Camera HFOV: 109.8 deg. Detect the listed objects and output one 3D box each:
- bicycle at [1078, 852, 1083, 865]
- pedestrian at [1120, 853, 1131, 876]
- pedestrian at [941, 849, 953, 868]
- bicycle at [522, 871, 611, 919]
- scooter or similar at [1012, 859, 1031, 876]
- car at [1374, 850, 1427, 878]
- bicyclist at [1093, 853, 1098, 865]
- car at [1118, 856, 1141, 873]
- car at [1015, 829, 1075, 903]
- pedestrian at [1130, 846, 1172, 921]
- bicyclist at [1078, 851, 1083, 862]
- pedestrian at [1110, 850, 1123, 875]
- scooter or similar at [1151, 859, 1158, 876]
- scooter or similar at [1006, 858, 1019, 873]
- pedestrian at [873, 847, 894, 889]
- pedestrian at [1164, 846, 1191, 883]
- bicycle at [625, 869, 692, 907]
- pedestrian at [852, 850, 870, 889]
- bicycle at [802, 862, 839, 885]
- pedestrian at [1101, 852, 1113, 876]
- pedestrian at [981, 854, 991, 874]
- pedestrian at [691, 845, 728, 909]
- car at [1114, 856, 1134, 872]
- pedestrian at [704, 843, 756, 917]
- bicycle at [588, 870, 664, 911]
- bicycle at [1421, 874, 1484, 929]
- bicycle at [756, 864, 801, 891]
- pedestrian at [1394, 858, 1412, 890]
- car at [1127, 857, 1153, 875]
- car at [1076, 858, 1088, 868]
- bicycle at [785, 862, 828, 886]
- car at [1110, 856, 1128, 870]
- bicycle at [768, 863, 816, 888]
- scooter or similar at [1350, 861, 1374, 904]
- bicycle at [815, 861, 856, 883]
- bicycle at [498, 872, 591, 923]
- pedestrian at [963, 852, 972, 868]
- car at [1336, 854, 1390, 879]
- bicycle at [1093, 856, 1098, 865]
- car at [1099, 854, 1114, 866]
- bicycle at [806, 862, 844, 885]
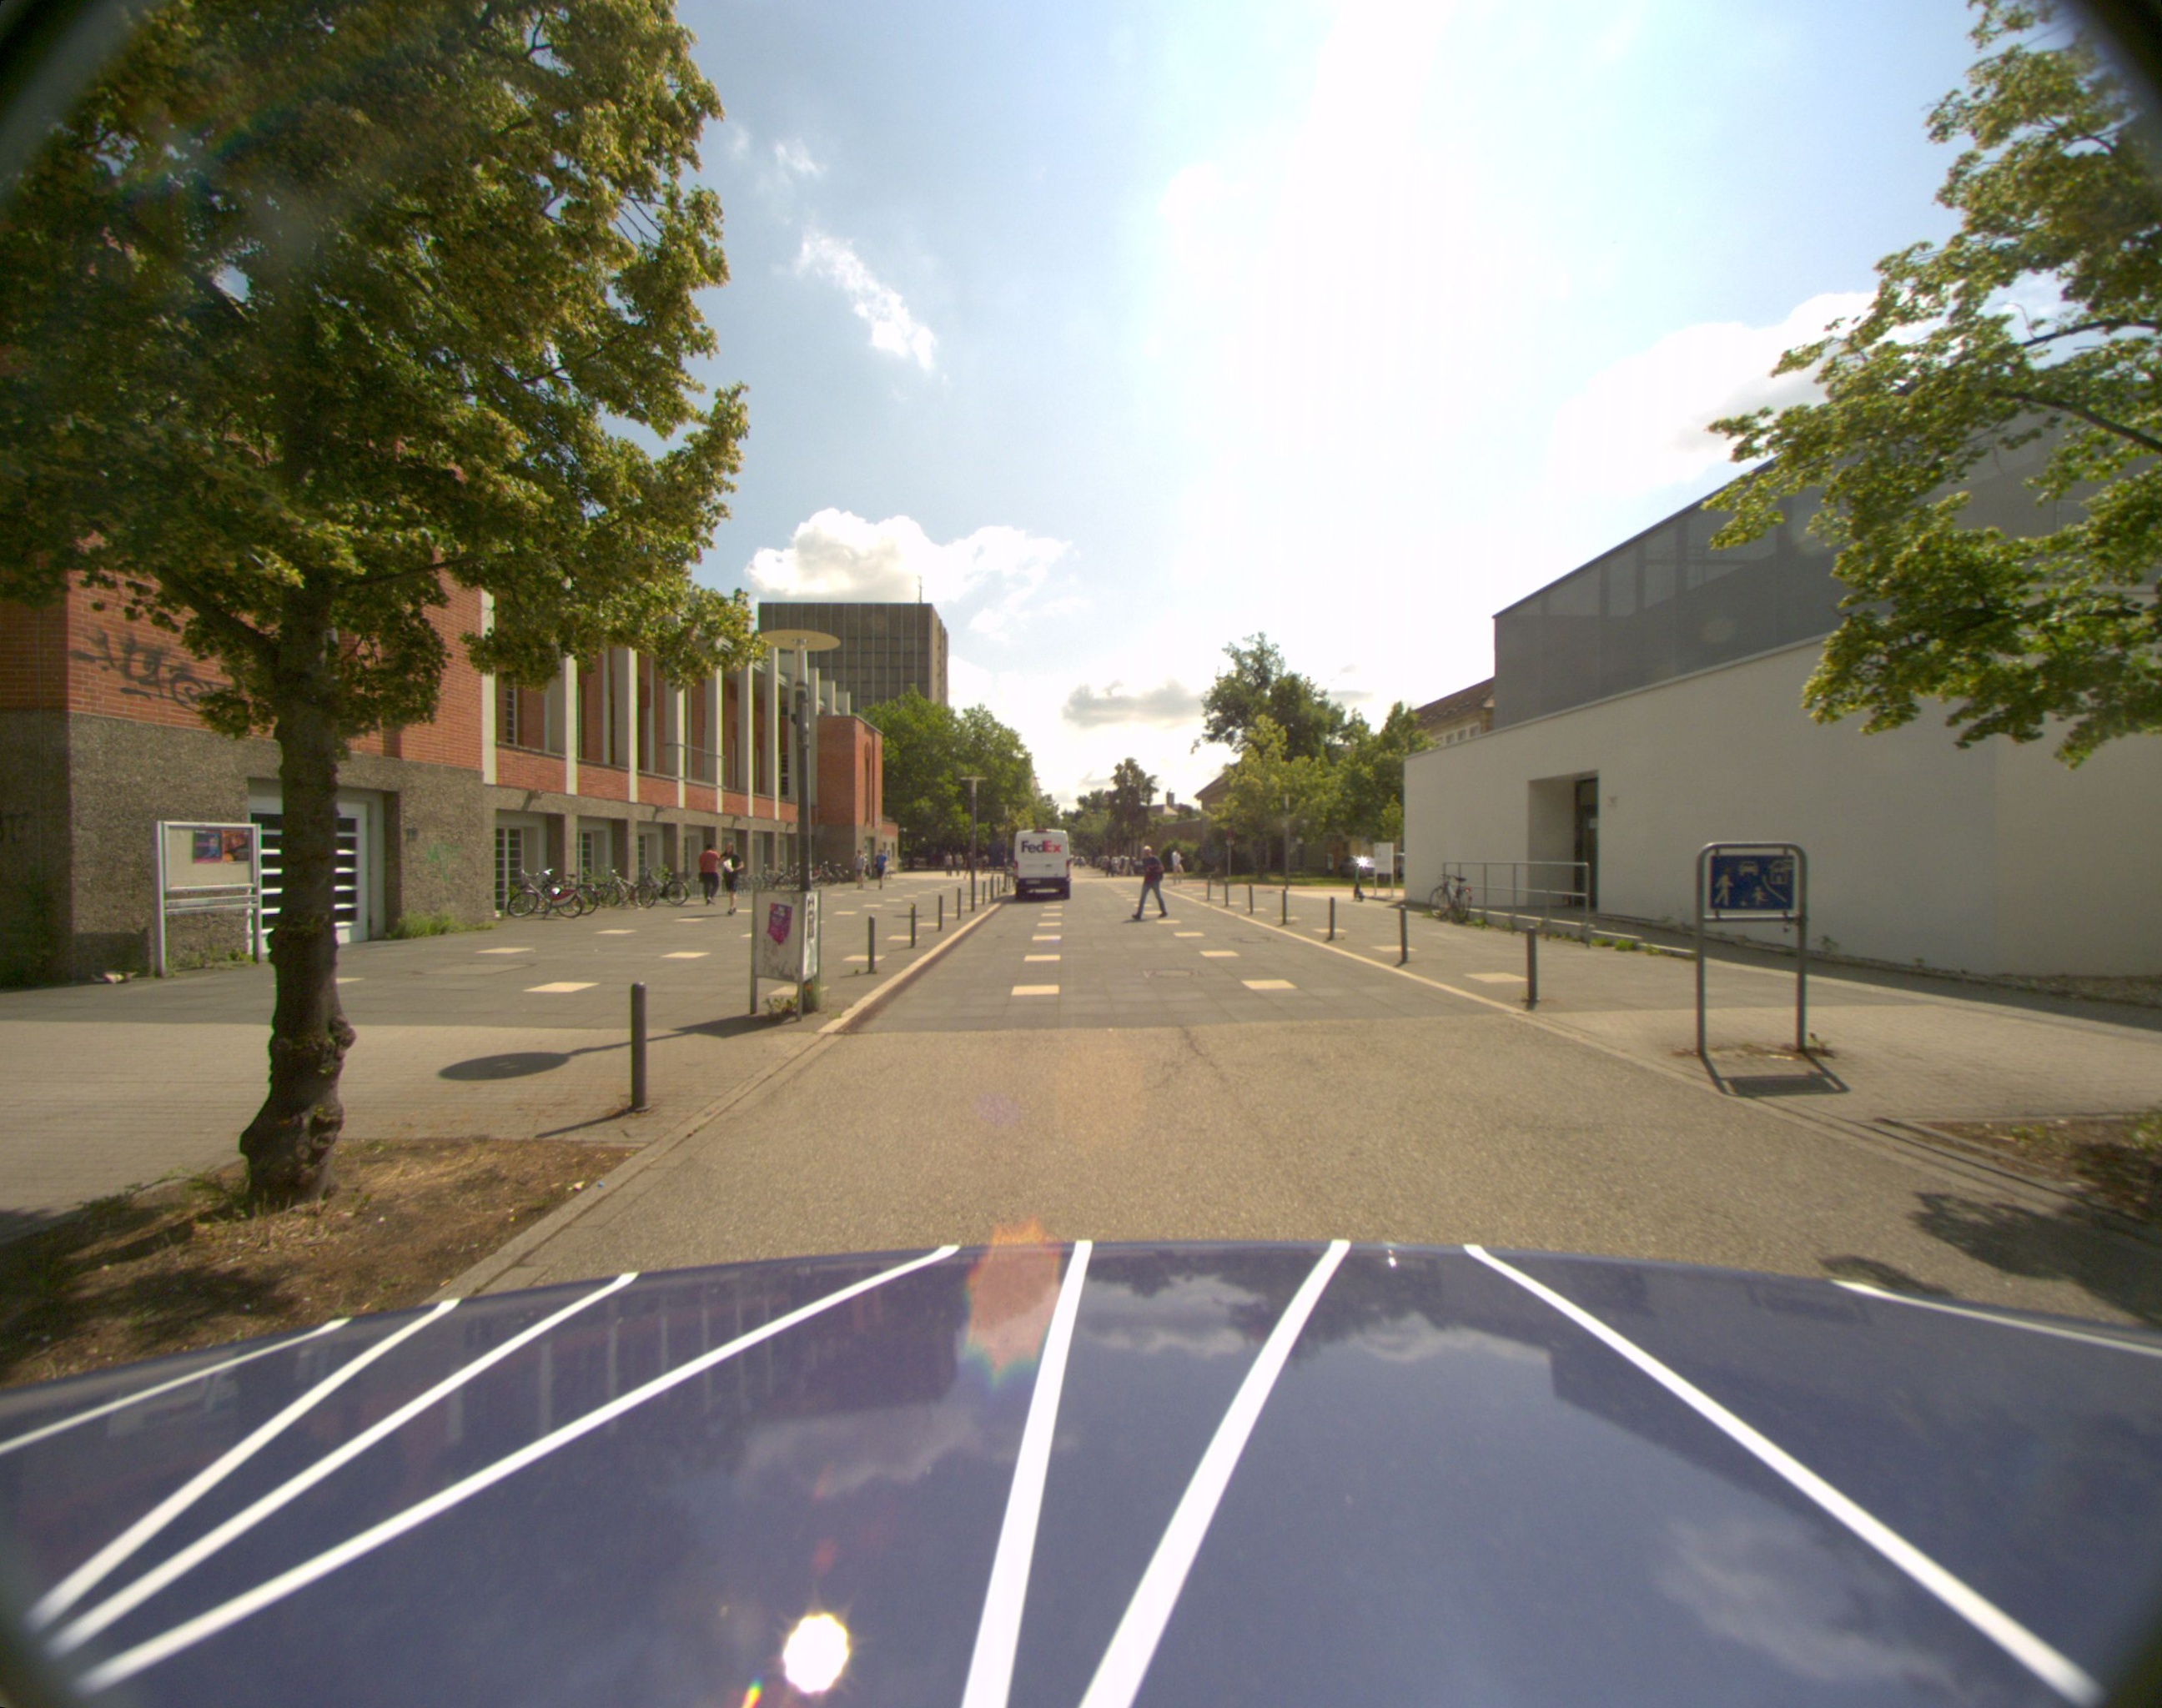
[{"bbox_3d":[-0.038,0.587,99.186,0.588,1.670,1.758,0,0,-3],"label":"bicycle"},{"bbox_3d":[3.270,0.788,56.036,0.558,1.706,0.971,0,1,-13],"label":"pedestrian"},{"bbox_3d":[-13.948,0.493,79.239,0.984,1.935,0.976,-3,2,-23],"label":"pedestrian"},{"bbox_3d":[-12.336,0.979,18.252,1.758,1.143,0.517,0,1,-3],"label":"bicycle"},{"bbox_3d":[-4.496,1.025,57.409,1.352,1.223,0.577,0,0,34],"label":"scooter or similar"},{"bbox_3d":[22.058,0.642,52.620,1.811,1.776,4.123,0,1,-2],"label":"car"},{"bbox_3d":[1.921,0.708,100.705,0.630,1.597,1.328,0,0,-3],"label":"bicyclist"},{"bbox_3d":[4.144,0.868,65.408,1.635,1.422,3.632,0,0,-1],"label":"car"},{"bbox_3d":[-1.394,0.415,29.240,2.065,2.528,5.847,0,0,-3],"label":"car"},{"bbox_3d":[1.724,0.718,18.936,0.826,1.807,1.143,0,1,-6],"label":"pedestrian"},{"bbox_3d":[-0.045,0.329,99.184,0.588,1.444,1.233,0,0,-3],"label":"bicyclist"},{"bbox_3d":[2.603,0.607,55.931,0.727,1.776,0.899,0,1,-14],"label":"pedestrian"},{"bbox_3d":[5.316,0.943,55.062,0.470,1.209,1.205,0,0,4],"label":"scooter or similar"},{"bbox_3d":[-5.390,0.906,59.610,0.575,1.173,1.479,1,0,12],"label":"scooter or similar"},{"bbox_3d":[-8.931,0.626,34.360,0.666,1.879,1.109,1,1,-1],"label":"pedestrian"},{"bbox_3d":[4.921,0.543,38.677,1.022,1.837,0.918,2,1,29],"label":"pedestrian"},{"bbox_3d":[-12.315,0.993,22.192,1.687,1.103,0.435,0,1,-3],"label":"bicycle"},{"bbox_3d":[-9.913,0.693,34.271,0.586,1.697,1.001,1,1,-5],"label":"pedestrian"},{"bbox_3d":[-12.517,0.924,36.514,1.655,1.103,0.435,0,1,-3],"label":"bicycle"},{"bbox_3d":[1.915,0.715,55.597,0.622,1.706,1.004,0,0,-13],"label":"pedestrian"},{"bbox_3d":[-8.127,0.840,65.266,0.785,1.666,1.078,1,1,-4],"label":"pedestrian"},{"bbox_3d":[-10.944,0.662,22.401,0.665,1.823,0.906,0,1,-5],"label":"pedestrian"},{"bbox_3d":[3.980,0.911,71.261,1.648,1.368,4.000,0,0,0],"label":"car"},{"bbox_3d":[-8.857,0.641,19.242,0.846,1.823,1.196,0,1,-6],"label":"pedestrian"},{"bbox_3d":[-12.378,0.987,20.693,1.752,1.103,0.435,0,1,-3],"label":"bicycle"},{"bbox_3d":[7.962,0.996,16.388,0.544,1.055,1.899,0,0,4],"label":"bicycle"},{"bbox_3d":[-12.480,0.952,31.399,1.687,1.103,0.435,0,1,-3],"label":"bicycle"},{"bbox_3d":[18.771,1.176,44.244,0.870,1.778,0.637,1,5,31],"label":"pedestrian"},{"bbox_3d":[4.530,0.915,58.874,1.701,1.287,3.762,0,0,0],"label":"car"},{"bbox_3d":[0.185,1.487,130.116,1.932,1.624,4.372,0,0,0],"label":"car"},{"bbox_3d":[-12.577,0.923,34.886,1.802,1.103,0.435,0,1,-3],"label":"bicycle"},{"bbox_3d":[3.958,0.885,79.416,1.718,1.424,4.000,0,0,0],"label":"car"},{"bbox_3d":[-12.567,0.939,33.073,1.916,1.103,0.435,0,1,-3],"label":"bicycle"},{"bbox_3d":[8.634,0.862,23.392,0.483,1.255,1.314,0,0,11],"label":"scooter or similar"},{"bbox_3d":[-12.585,0.921,39.017,1.935,1.103,0.456,0,1,-3],"label":"bicycle"},{"bbox_3d":[-12.215,0.980,17.328,1.758,1.143,0.435,0,1,-3],"label":"bicycle"},{"bbox_3d":[-11.913,0.643,79.691,0.752,1.663,0.844,0,0,-23],"label":"pedestrian"},{"bbox_3d":[19.506,0.823,52.784,1.899,1.572,4.648,0,1,-2],"label":"car"},{"bbox_3d":[1.922,0.831,100.644,0.626,1.135,1.812,0,0,-3],"label":"bicycle"},{"bbox_3d":[3.517,0.849,106.510,1.932,1.624,4.372,0,0,0],"label":"car"},{"bbox_3d":[-12.543,0.936,37.210,1.699,1.103,0.435,0,1,-3],"label":"bicycle"}]
